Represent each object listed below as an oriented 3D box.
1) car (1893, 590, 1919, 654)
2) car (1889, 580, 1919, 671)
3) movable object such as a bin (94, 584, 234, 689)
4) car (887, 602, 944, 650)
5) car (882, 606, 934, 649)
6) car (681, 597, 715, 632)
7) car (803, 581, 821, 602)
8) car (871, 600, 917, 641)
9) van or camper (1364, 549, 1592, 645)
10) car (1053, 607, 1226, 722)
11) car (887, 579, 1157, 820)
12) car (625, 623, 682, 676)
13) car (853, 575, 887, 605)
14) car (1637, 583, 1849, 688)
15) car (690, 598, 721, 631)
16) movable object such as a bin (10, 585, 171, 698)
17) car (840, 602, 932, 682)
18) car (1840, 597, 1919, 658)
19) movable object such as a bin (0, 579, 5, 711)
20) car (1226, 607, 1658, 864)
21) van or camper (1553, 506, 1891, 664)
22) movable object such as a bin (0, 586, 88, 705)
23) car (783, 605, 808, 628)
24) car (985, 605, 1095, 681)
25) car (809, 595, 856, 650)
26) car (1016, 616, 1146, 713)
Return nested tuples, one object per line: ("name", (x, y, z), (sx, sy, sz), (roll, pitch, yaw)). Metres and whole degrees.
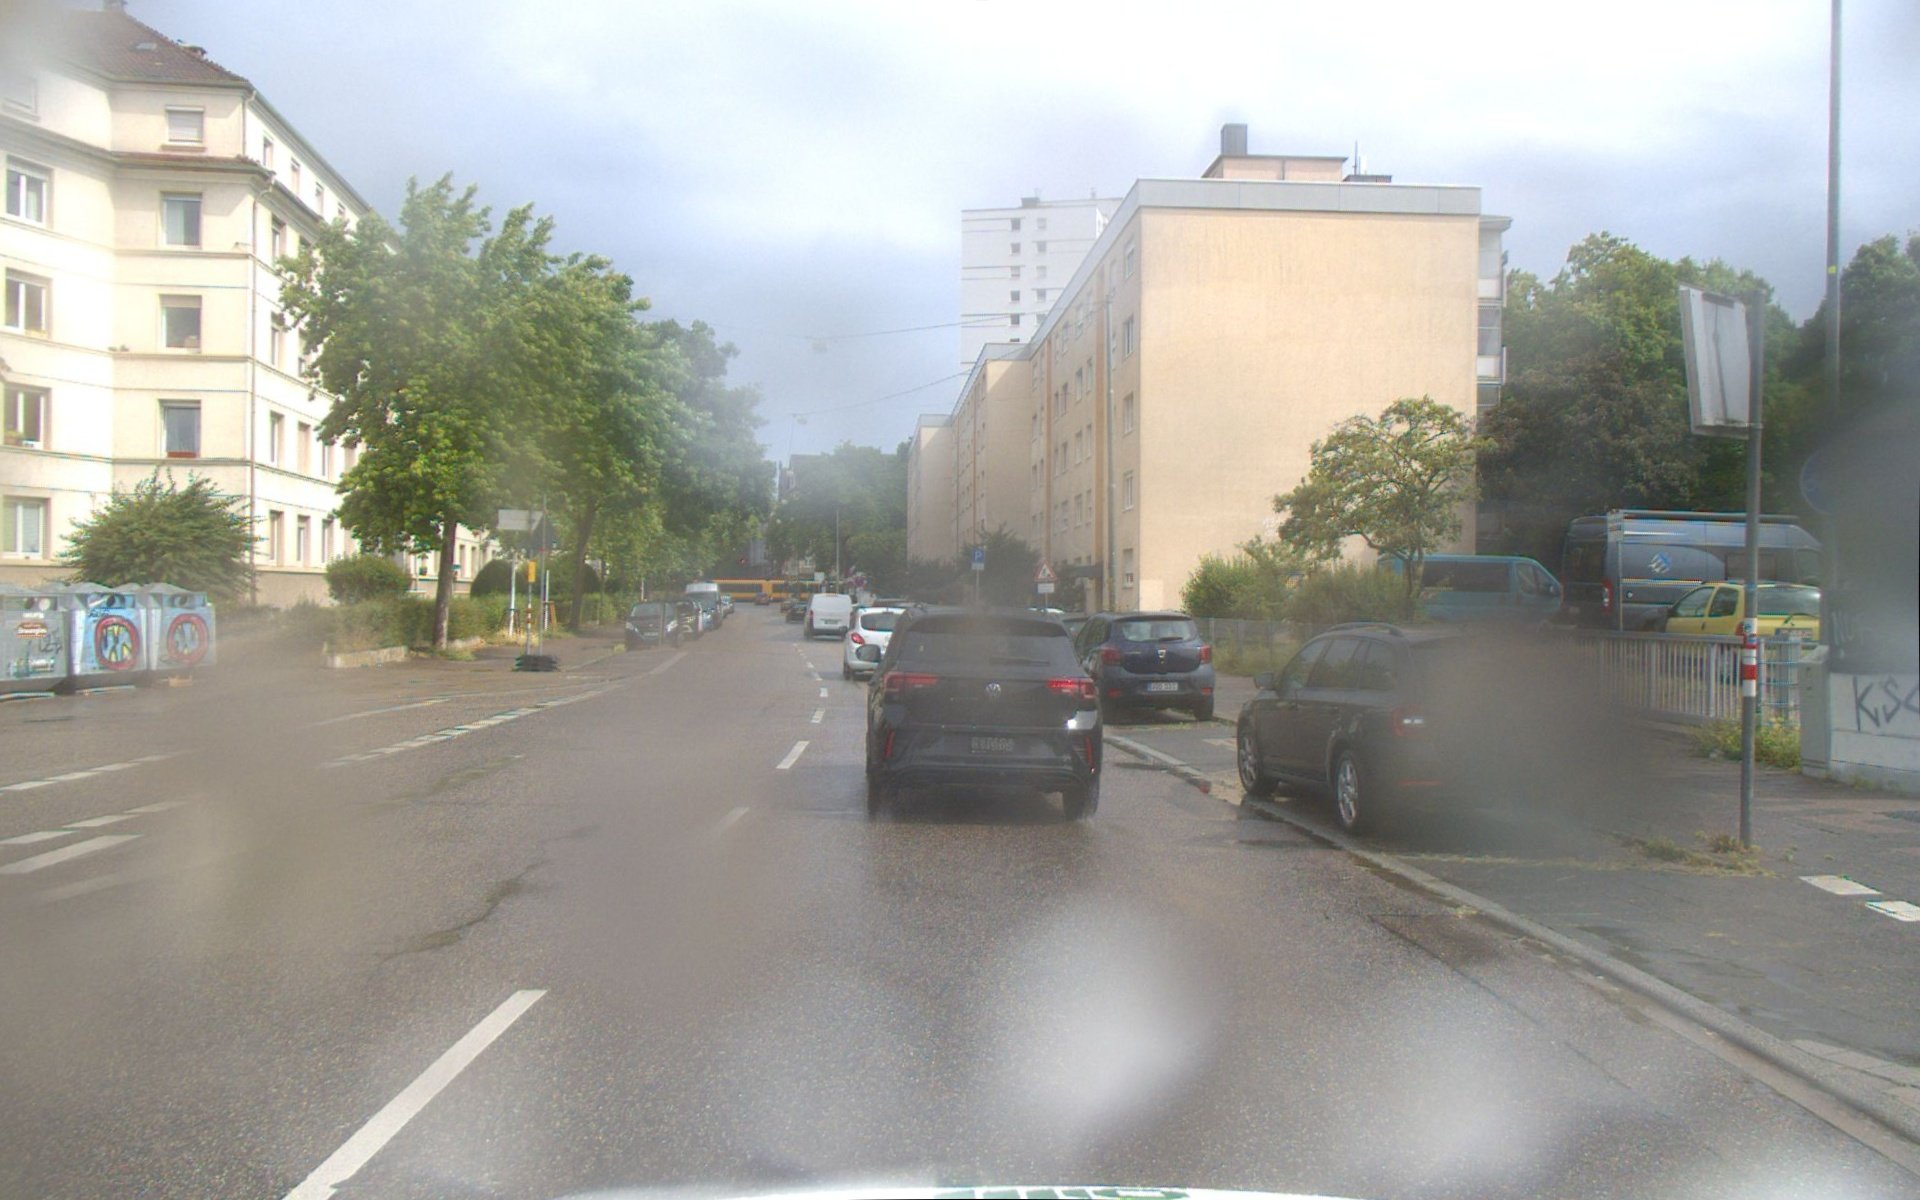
("car", (24.686, 0.510, 39.749), (3.591, 1.512, 1.639), (0, 0, 0))
("car", (16.655, 0.416, 26.336), (1.615, 1.512, 3.718), (0, 0, -1))
("movable object such as a bin", (-13.267, 0.589, 27.609), (1.505, 1.691, 1.460), (0, 0, 16))
("car", (-1.559, 0.872, 56.893), (1.662, 1.566, 4.027), (-1, 0, -6))
("car", (-1.981, 0.994, 62.337), (1.574, 1.532, 4.026), (-1, 0, -7))
("car", (-12.987, 0.690, 82.050), (1.556, 1.668, 3.913), (-1, 0, -8))
("car", (-13.769, -0.790, 154.249), (1.633, 1.870, 3.995), (0, 0, -5))
("car", (-2.843, 0.848, 70.606), (1.574, 1.701, 4.026), (-1, 0, -7))
("van or camper", (12.150, -0.084, 39.028), (4.661, 2.169, 2.321), (0, 0, 0))
("car", (2.568, 0.910, 24.541), (1.723, 1.554, 3.994), (0, -1, -7))
("car", (0.367, 0.748, 13.946), (1.836, 1.674, 4.058), (2, -1, -4))
("car", (-9.620, 1.527, 52.077), (1.556, 1.532, 4.057), (-1, 0, -8))
("car", (-4.966, -0.537, 91.874), (1.804, 1.636, 3.673), (-1, 0, -2))
("car", (11.773, 0.498, 25.093), (1.578, 1.474, 3.416), (0, 0, -1))
("car", (-13.517, 0.748, 87.909), (1.556, 1.668, 3.913), (-1, 0, -8))
("movable object such as a bin", (-13.676, 0.629, 26.063), (1.505, 1.703, 1.667), (0, 0, 15))
("car", (-1.597, 0.873, 35.101), (1.777, 1.529, 3.997), (2, -1, -3))
("car", (24.597, 0.681, 42.034), (3.591, 1.512, 1.639), (0, 0, 0))
("movable object such as a bin", (-14.371, 0.639, 22.911), (1.505, 1.856, 1.264), (0, 0, 16))
("car", (3.476, 0.878, 12.871), (1.739, 1.566, 4.373), (-2, 0, -5))
("van or camper", (13.136, -0.229, 28.747), (4.898, 2.599, 2.174), (1, -1, -2))
("movable object such as a bin", (-14.112, 0.646, 24.471), (1.505, 1.685, 1.529), (0, 0, 16))
("car", (-11.074, 1.086, 110.937), (1.574, 1.536, 3.542), (-1, 0, -7))
("car", (1.662, 0.934, 35.778), (1.716, 1.534, 4.105), (1, -2, -7))
("car", (-5.271, 0.939, 68.403), (1.800, 2.140, 3.996), (2, -1, -4))
("car", (2.069, 1.077, 29.280), (1.573, 1.534, 4.155), (-2, 0, -6))
